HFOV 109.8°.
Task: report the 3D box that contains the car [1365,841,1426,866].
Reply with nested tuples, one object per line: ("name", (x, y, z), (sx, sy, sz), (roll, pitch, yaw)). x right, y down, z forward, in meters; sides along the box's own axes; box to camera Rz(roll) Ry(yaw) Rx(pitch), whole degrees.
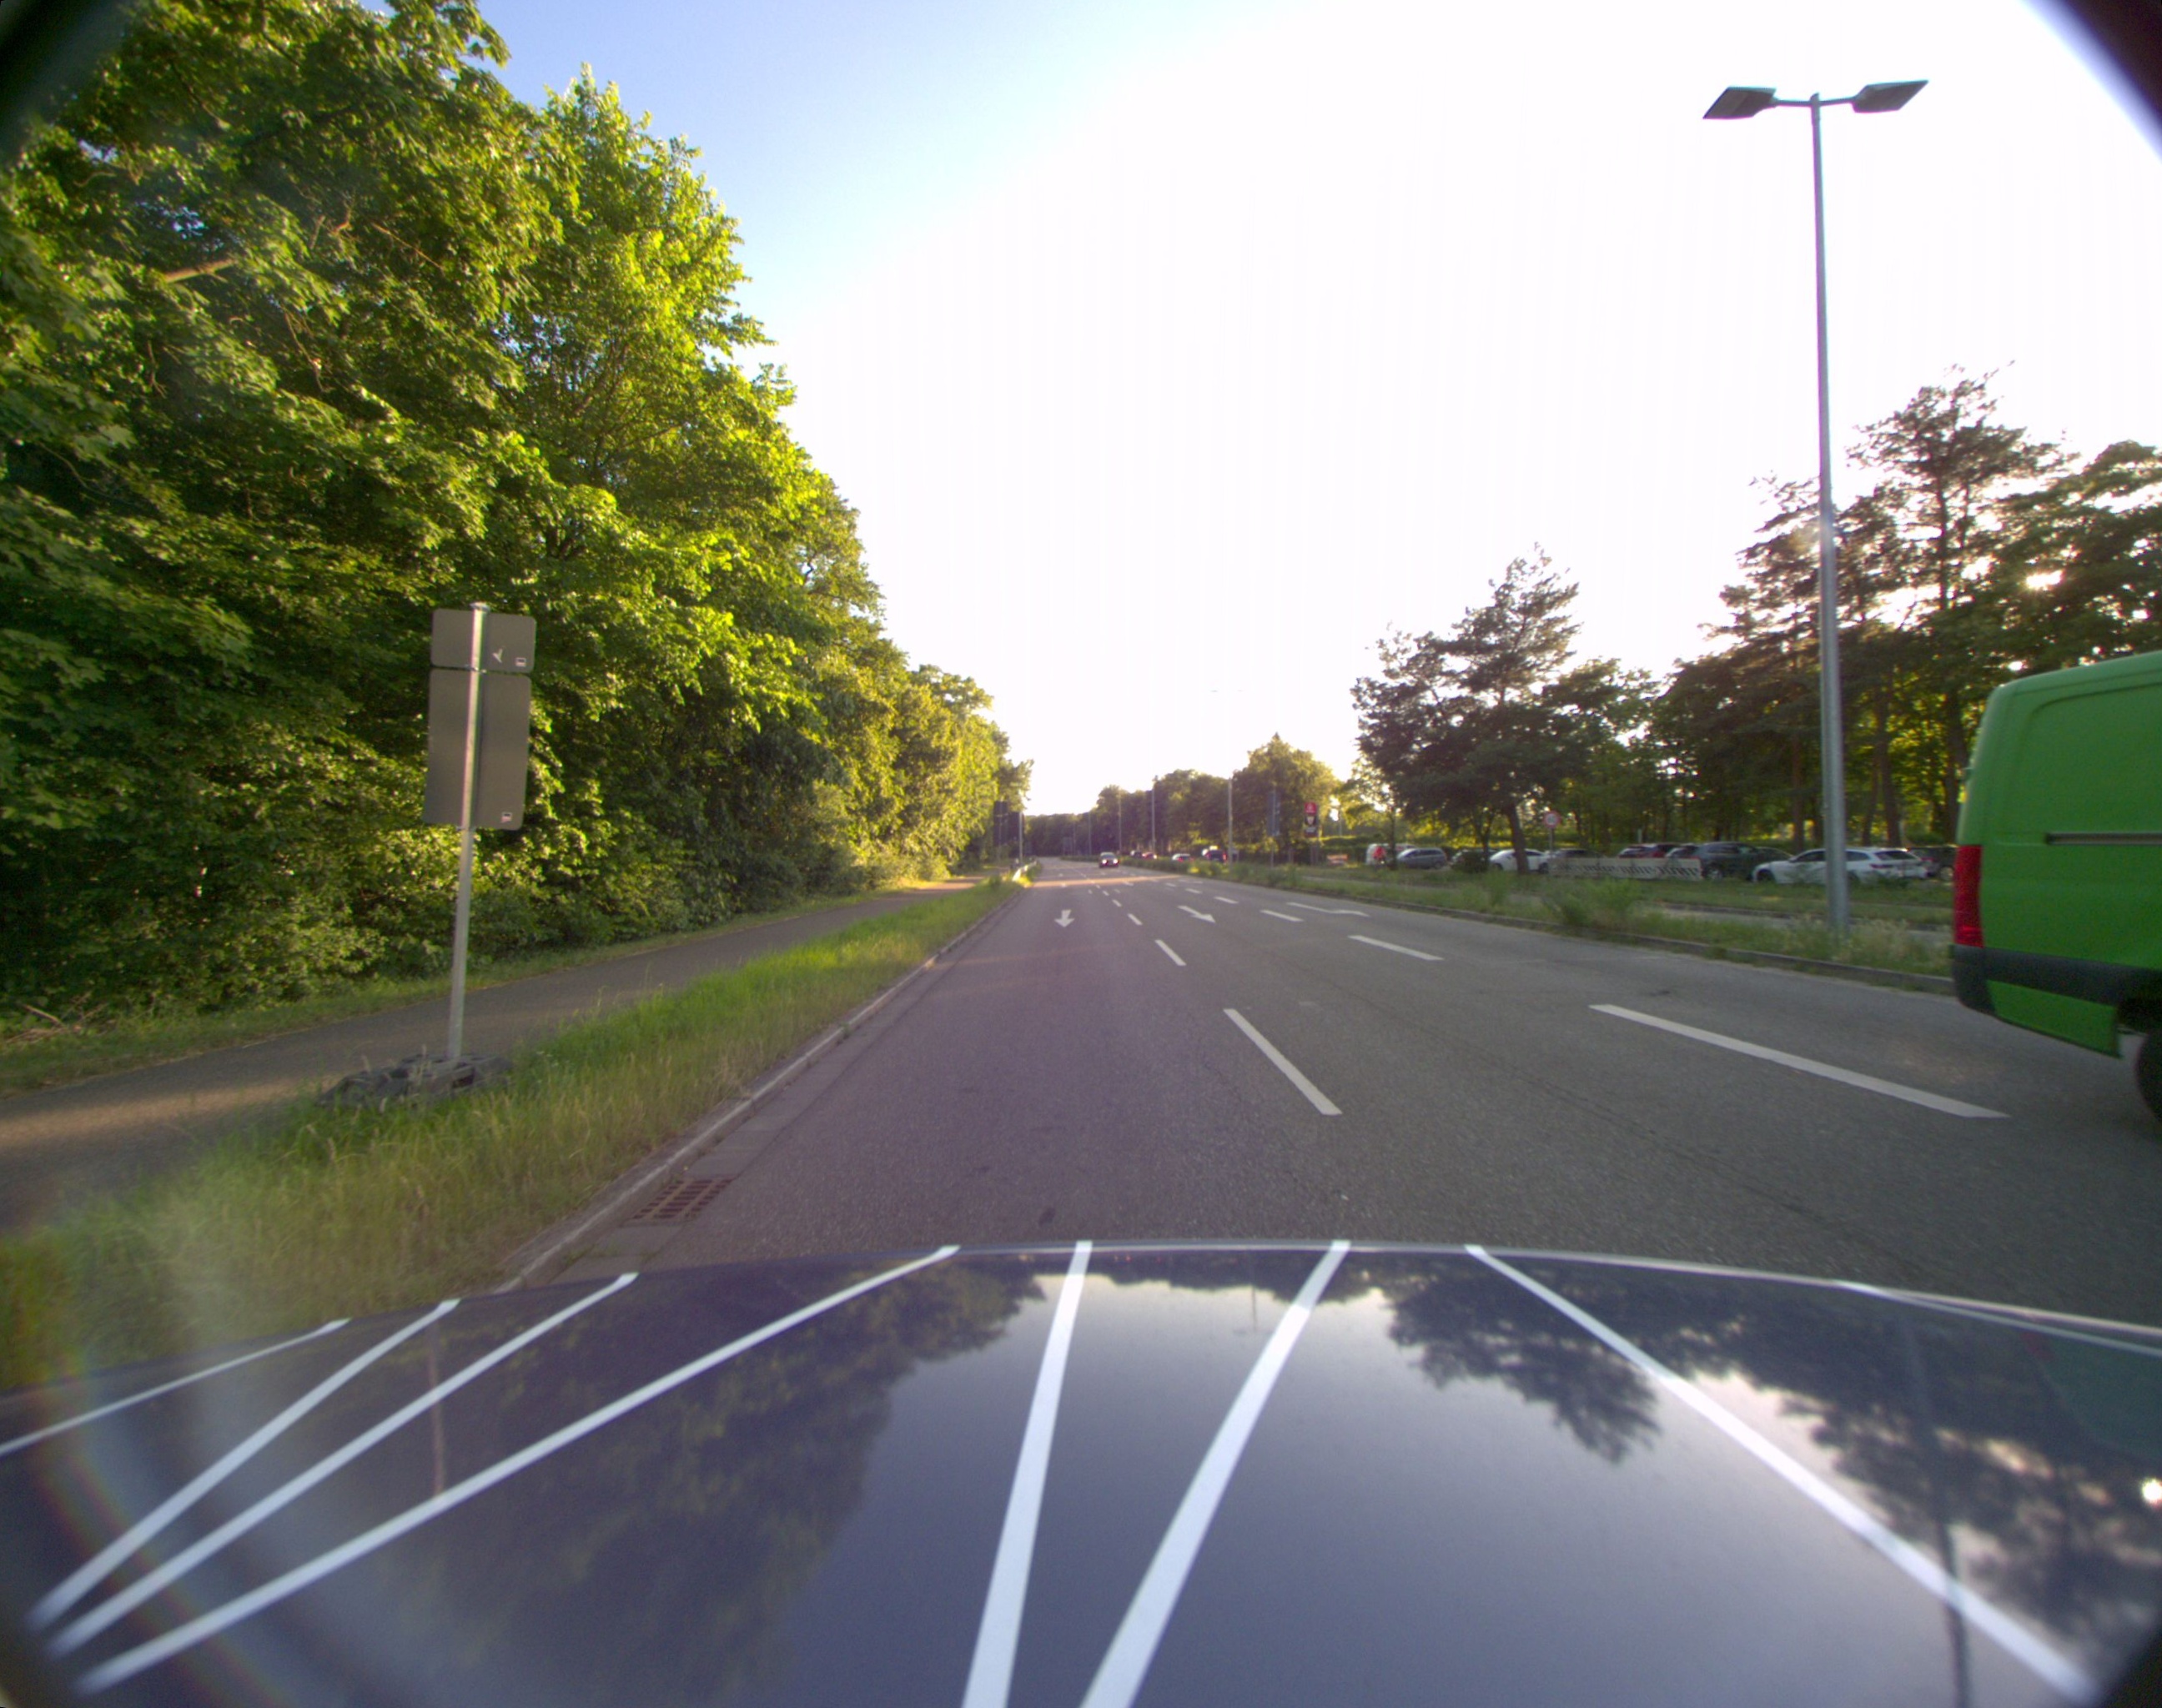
("car", (24.442, -0.047, 59.054), (3.998, 1.932, 1.766), (0, 1, -2))

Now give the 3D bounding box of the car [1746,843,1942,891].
("car", (26.526, 0.406, 26.710), (1.999, 1.539, 4.708), (0, 0, -4))

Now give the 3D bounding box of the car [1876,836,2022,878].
("car", (35.546, 0.115, 31.183), (3.997, 1.641, 1.766), (0, 1, 0))

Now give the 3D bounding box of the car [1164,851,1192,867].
("car", (9.279, 0.421, 72.898), (1.999, 1.486, 4.511), (-1, 0, -2))

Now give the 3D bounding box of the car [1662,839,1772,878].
("car", (25.672, 0.178, 30.734), (3.099, 1.518, 1.659), (-1, 1, -1))

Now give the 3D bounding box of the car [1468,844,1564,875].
("car", (25.352, 0.309, 44.387), (4.497, 1.743, 1.909), (0, 1, 0))

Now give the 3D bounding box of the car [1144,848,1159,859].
("car", (10.962, -0.146, 118.336), (1.760, 1.532, 3.998), (-3, 1, -2))

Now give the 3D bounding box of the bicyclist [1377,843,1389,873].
("bicyclist", (18.880, 0.233, 47.559), (0.459, 1.863, 0.618), (-1, 1, -4))

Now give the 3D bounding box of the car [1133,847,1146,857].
("car", (9.771, -0.297, 126.859), (1.760, 1.532, 3.999), (-3, 1, -1))

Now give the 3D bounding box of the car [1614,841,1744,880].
("car", (26.617, 0.272, 33.890), (4.525, 1.608, 1.771), (-1, 1, -3))

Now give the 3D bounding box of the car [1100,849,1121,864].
("car", (3.096, 0.285, 80.485), (1.999, 1.543, 3.999), (-1, 0, -2))

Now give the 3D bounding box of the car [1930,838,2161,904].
("car", (26.854, 0.385, 20.600), (1.999, 1.597, 4.920), (0, 0, -4))

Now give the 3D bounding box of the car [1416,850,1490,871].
("car", (24.243, 0.385, 49.584), (3.997, 1.304, 1.732), (-1, 1, 0))

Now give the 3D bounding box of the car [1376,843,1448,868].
("car", (24.359, 0.100, 56.014), (4.498, 1.787, 1.909), (0, 1, -2))

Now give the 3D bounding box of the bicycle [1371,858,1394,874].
("bicycle", (18.876, 0.737, 47.623), (0.493, 0.928, 2.043), (-1, 0, -4))

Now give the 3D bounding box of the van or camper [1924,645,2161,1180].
("van or camper", (5.882, 0.264, 1.432), (1.999, 2.407, 5.895), (-1, 0, -1))

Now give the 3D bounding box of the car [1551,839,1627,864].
("car", (34.337, -0.179, 51.426), (3.997, 1.641, 1.766), (0, 1, 0))

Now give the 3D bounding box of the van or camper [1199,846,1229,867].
("van or camper", (13.258, 0.192, 76.028), (1.999, 2.002, 4.576), (-1, 0, -3))
